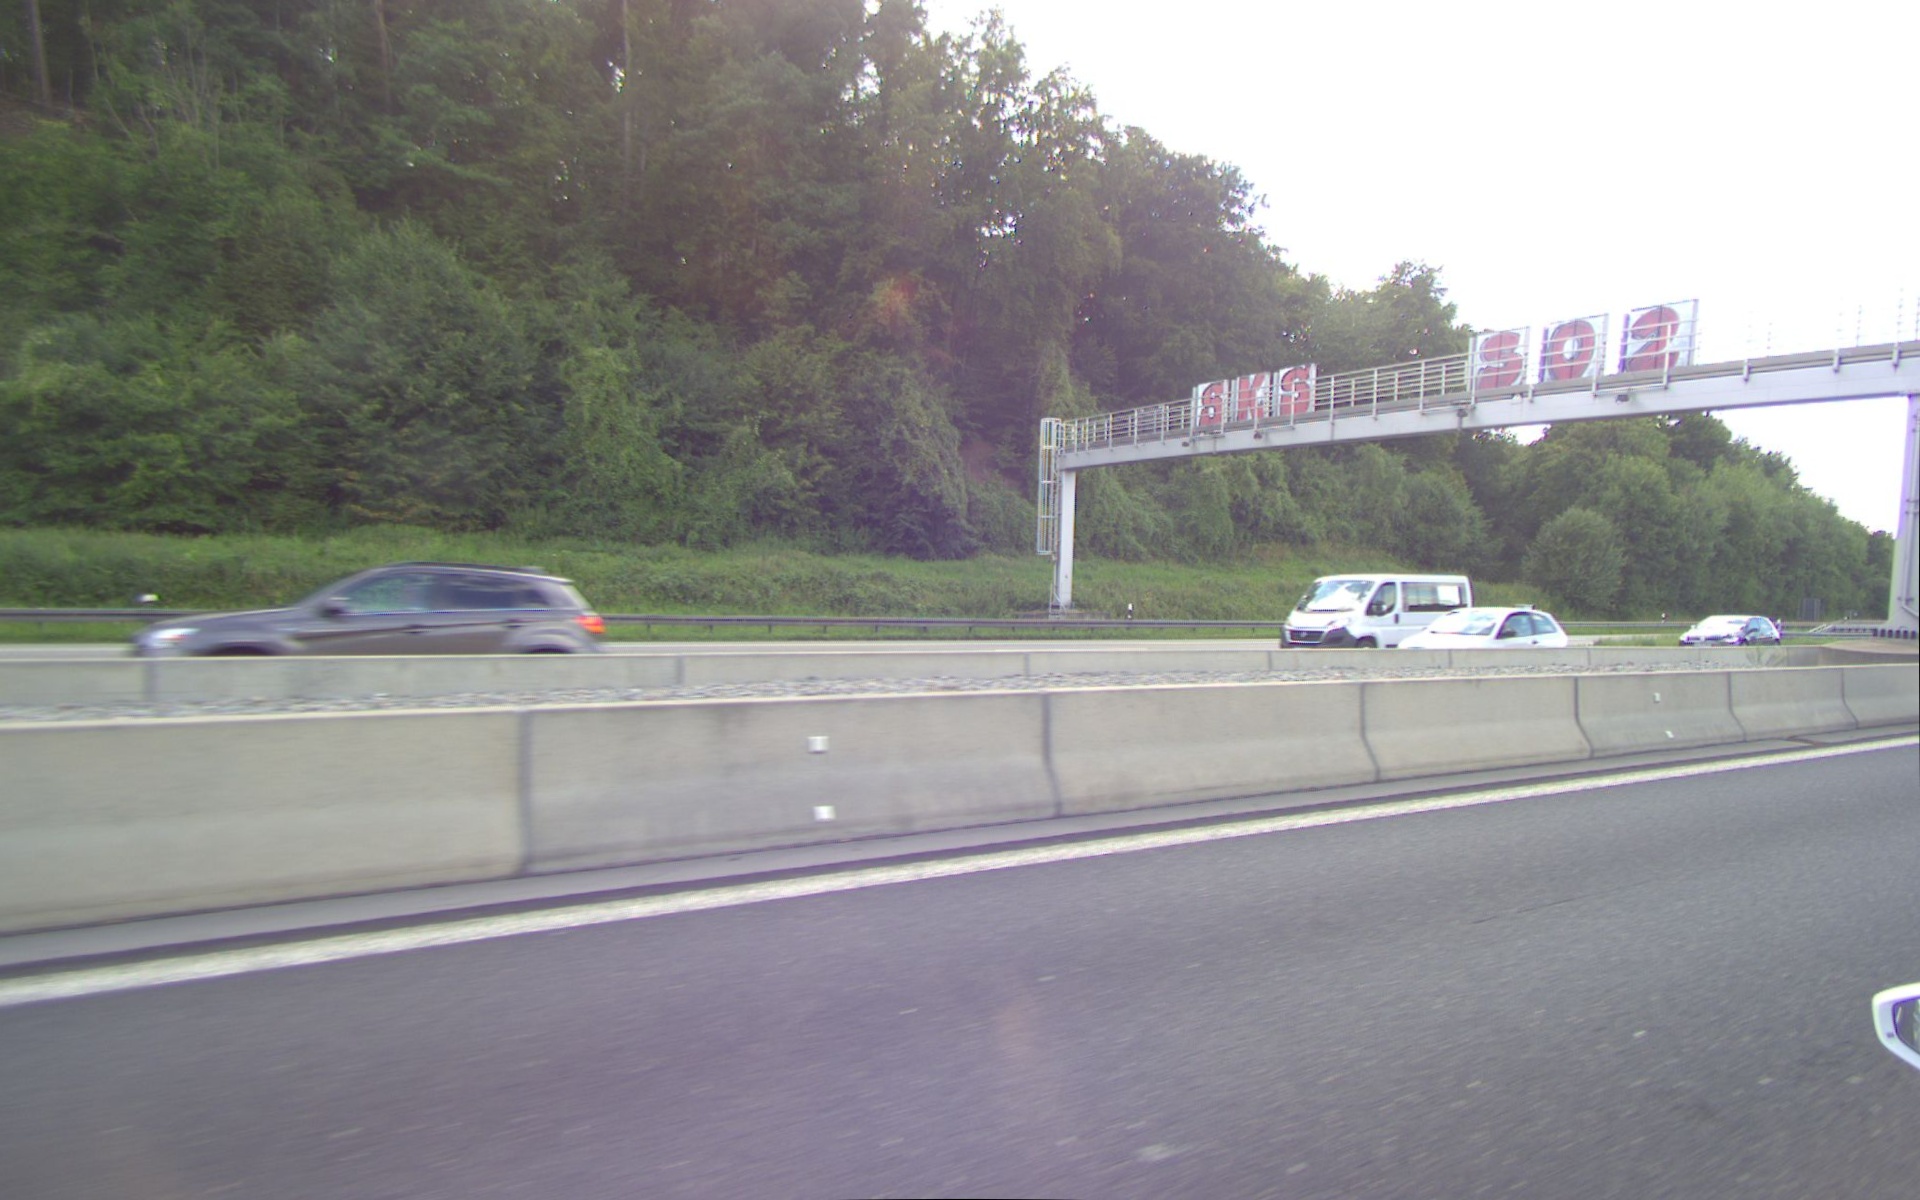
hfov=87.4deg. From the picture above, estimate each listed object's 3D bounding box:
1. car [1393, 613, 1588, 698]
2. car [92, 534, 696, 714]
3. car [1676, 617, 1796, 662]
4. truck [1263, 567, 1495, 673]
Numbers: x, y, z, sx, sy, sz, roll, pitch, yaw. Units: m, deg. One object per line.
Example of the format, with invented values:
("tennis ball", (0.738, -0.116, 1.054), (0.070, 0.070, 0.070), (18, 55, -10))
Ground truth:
("car", (10.397, 1.042, 19.634), (3.843, 1.469, 1.557), (1, 0, -30))
("car", (-5.727, 0.251, 10.883), (5.222, 1.556, 1.984), (1, 0, -30))
("car", (26.448, 1.335, 34.193), (4.547, 1.414, 1.657), (1, 0, -30))
("truck", (9.989, 0.471, 23.827), (5.504, 2.255, 2.173), (1, 0, -30))
